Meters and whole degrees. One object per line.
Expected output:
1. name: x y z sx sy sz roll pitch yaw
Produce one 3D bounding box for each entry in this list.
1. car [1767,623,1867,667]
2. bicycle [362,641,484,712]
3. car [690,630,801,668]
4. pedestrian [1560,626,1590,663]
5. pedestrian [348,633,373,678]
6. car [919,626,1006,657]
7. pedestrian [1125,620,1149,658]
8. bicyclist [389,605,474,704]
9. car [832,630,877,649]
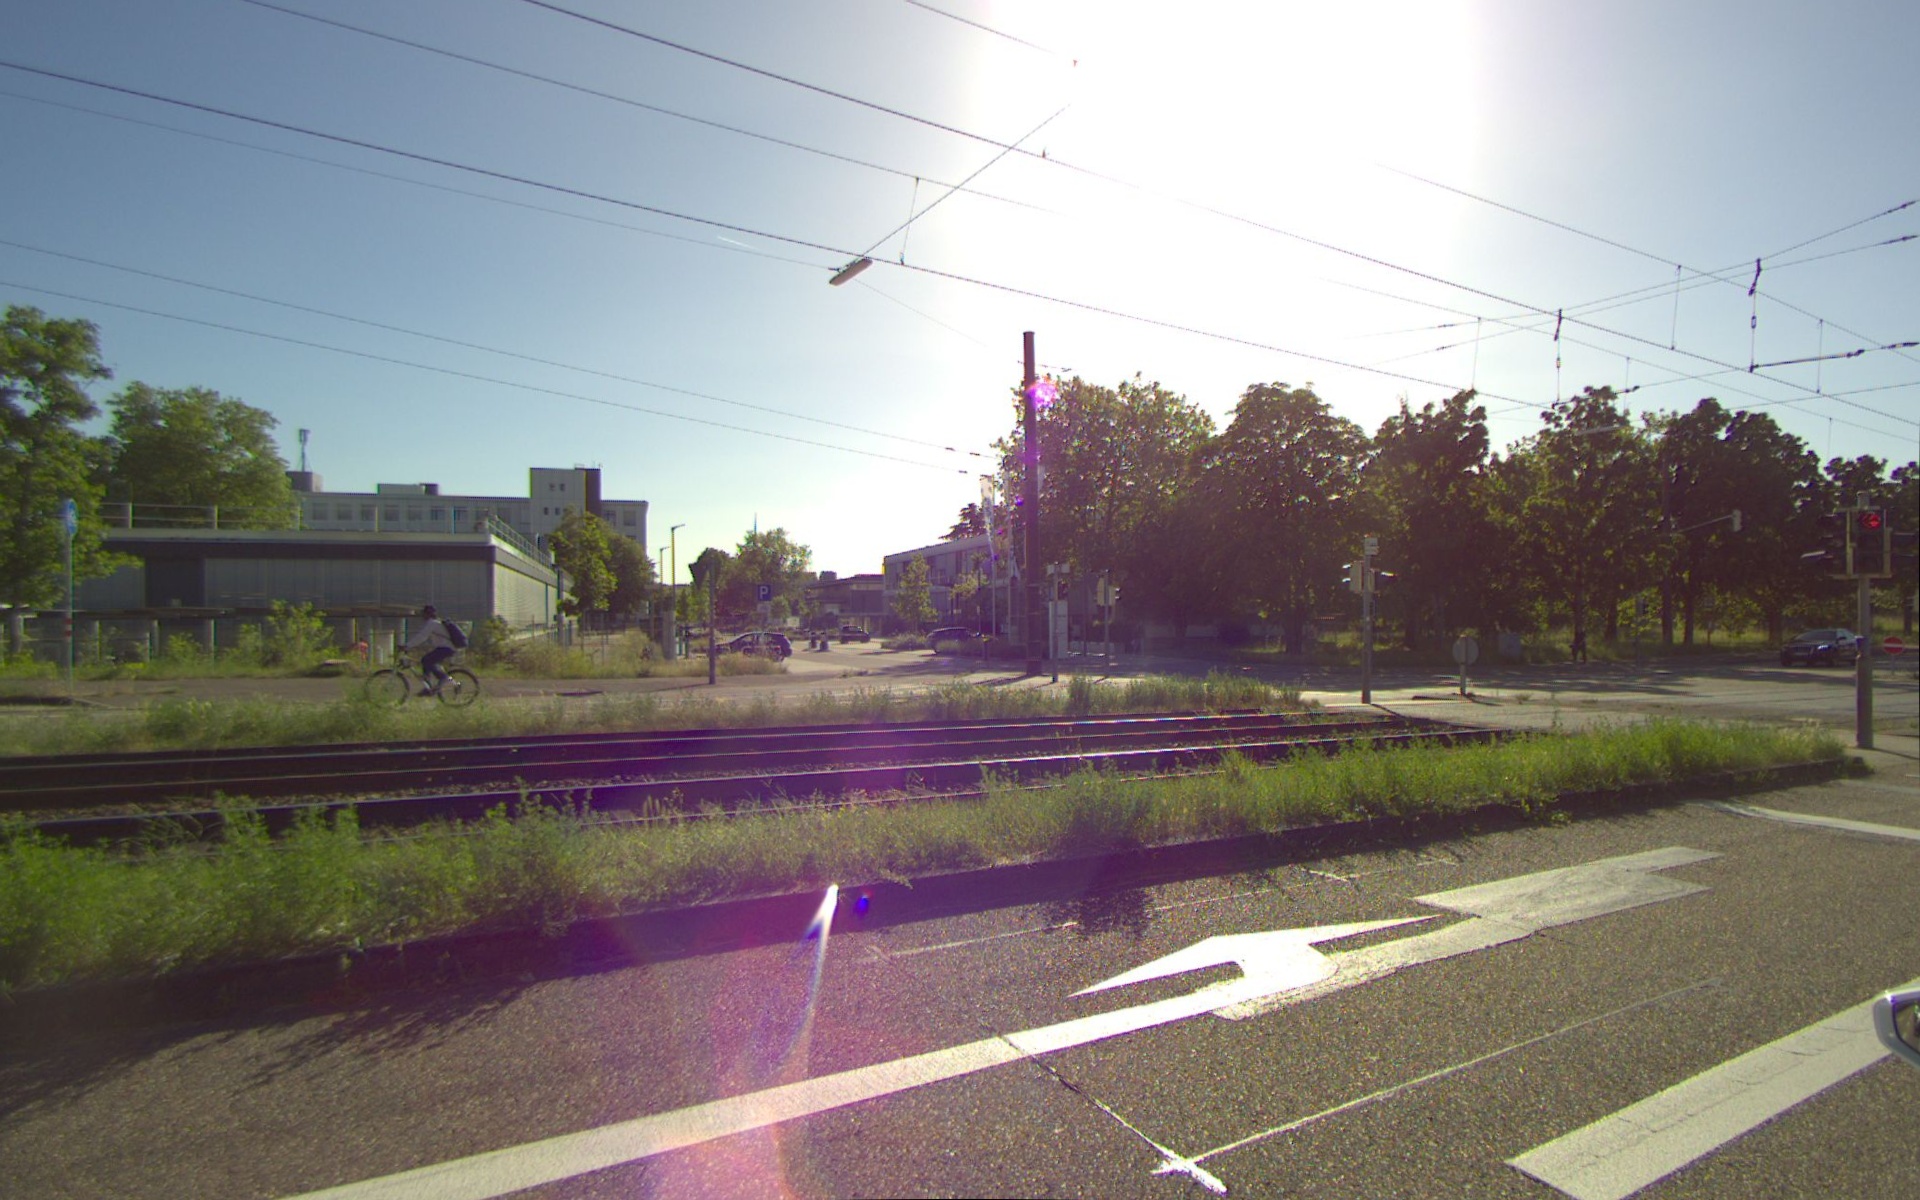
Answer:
1. car: 38.568 1.998 45.181 4.740 1.834 2.082 0 -3 -32
2. bicycle: -9.048 1.263 16.958 1.760 1.117 0.693 1 0 -30
3. car: -10.722 2.456 50.132 5.210 1.772 2.164 1 -1 -19
4. pedestrian: 29.091 2.088 47.511 0.919 1.757 0.761 0 -1 -2
5. pedestrian: -17.719 1.632 29.676 0.432 1.318 0.441 0 -1 18
6. car: 0.147 2.466 59.939 4.768 1.751 2.042 1 -1 -21
7. pedestrian: 8.610 1.899 48.850 0.807 1.811 0.950 0 -1 -16
8. bicyclist: -8.943 0.908 17.013 1.222 1.614 0.799 1 0 -29
9. car: -9.212 3.458 87.800 3.566 1.611 1.792 1 -1 -23
